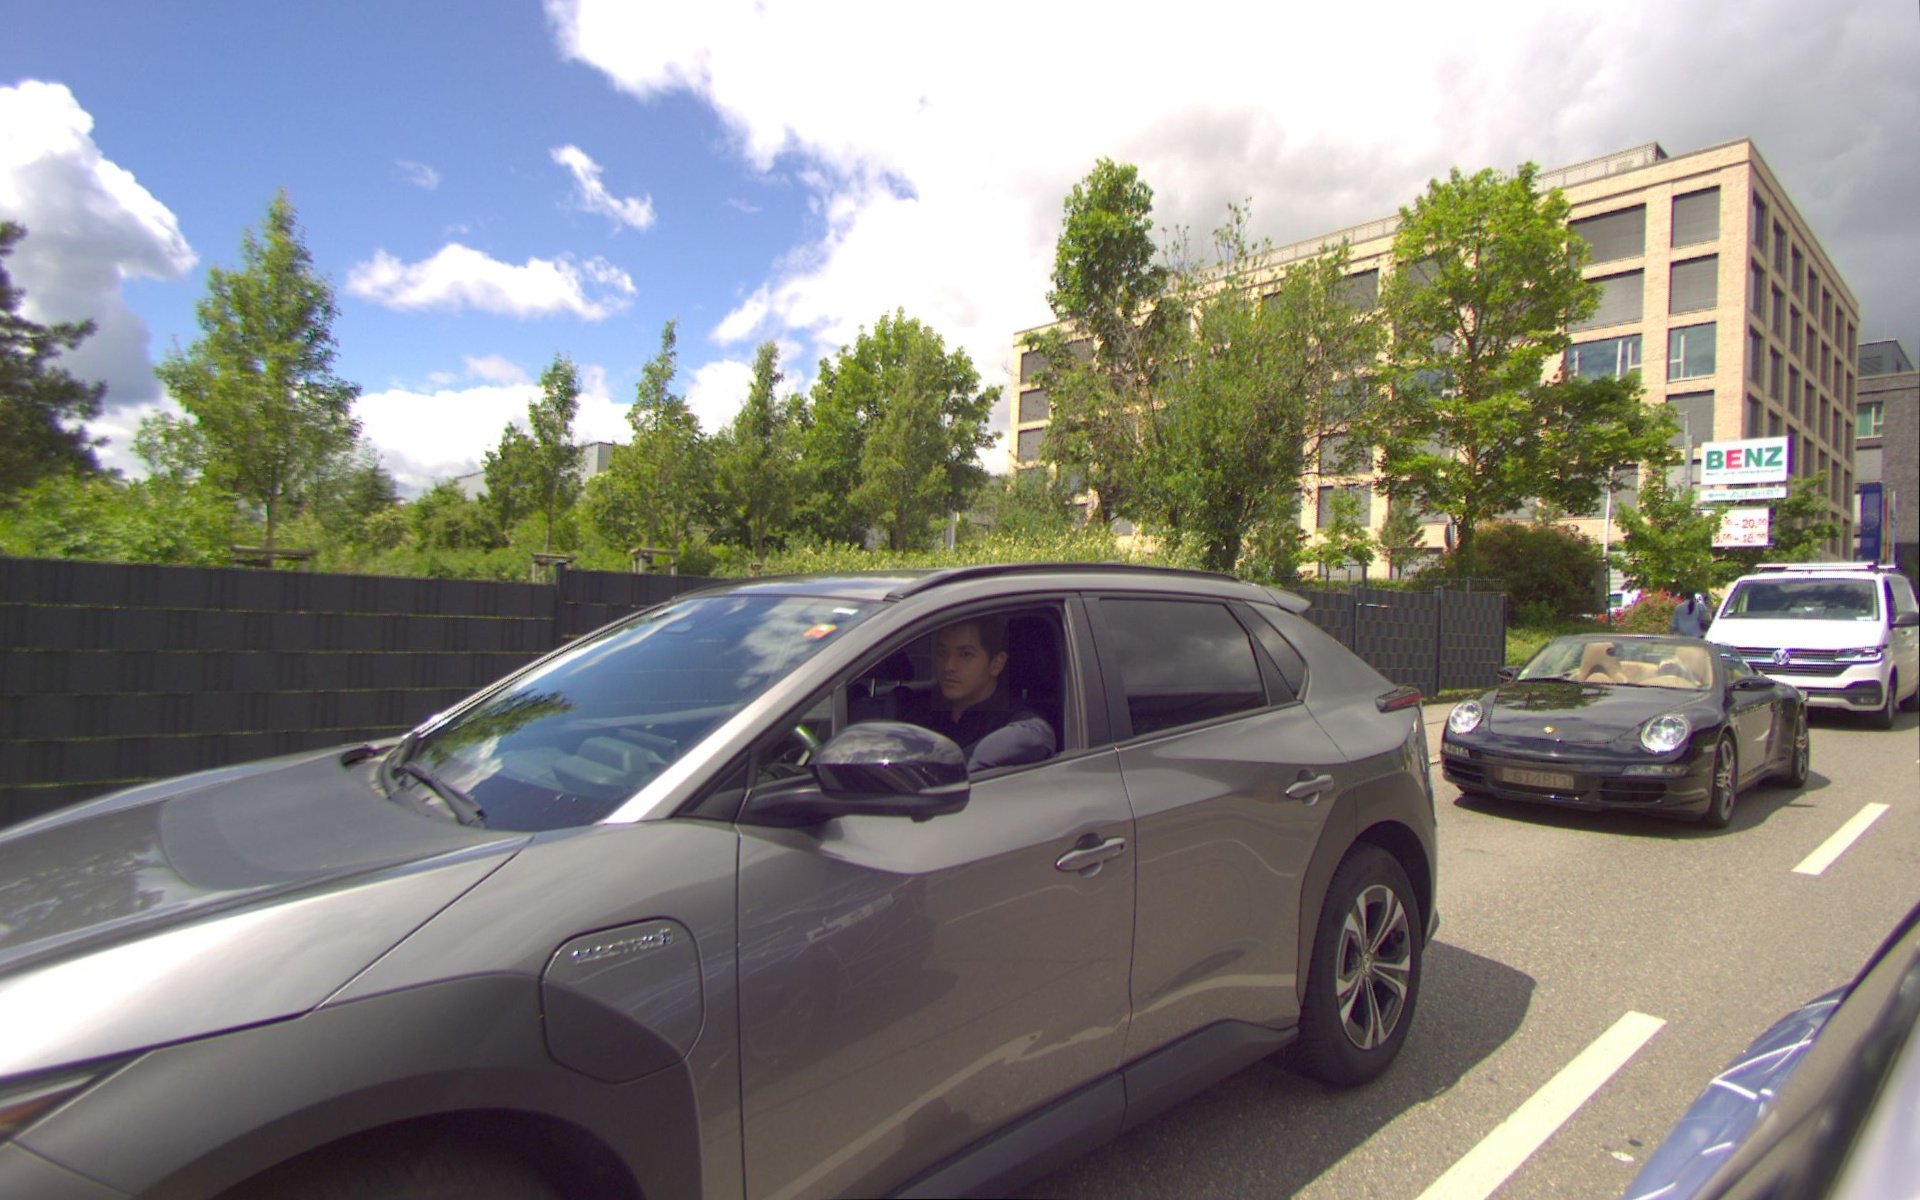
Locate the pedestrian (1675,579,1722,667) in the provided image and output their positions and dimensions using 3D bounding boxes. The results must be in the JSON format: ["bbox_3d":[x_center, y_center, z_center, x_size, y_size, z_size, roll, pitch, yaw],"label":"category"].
[{"bbox_3d":[14.375,0.435,19.706,0.435,1.678,0.631,0,1,-42],"label":"pedestrian"}]

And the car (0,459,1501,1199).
[{"bbox_3d":[-0.370,0.656,2.947,4.501,1.649,1.997,0,1,-42],"label":"car"}]

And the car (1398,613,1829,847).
[{"bbox_3d":[5.270,0.794,7.969,3.967,1.310,1.823,0,0,-41],"label":"car"}]

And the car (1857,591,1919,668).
[{"bbox_3d":[20.236,0.585,21.066,3.930,1.481,1.817,0,2,-41],"label":"car"}]

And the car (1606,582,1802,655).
[{"bbox_3d":[19.968,0.425,27.261,1.793,1.754,3.991,0,2,-44],"label":"car"}]

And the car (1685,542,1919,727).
[{"bbox_3d":[11.719,0.376,13.680,4.677,2.075,2.087,0,0,-41],"label":"car"}]
